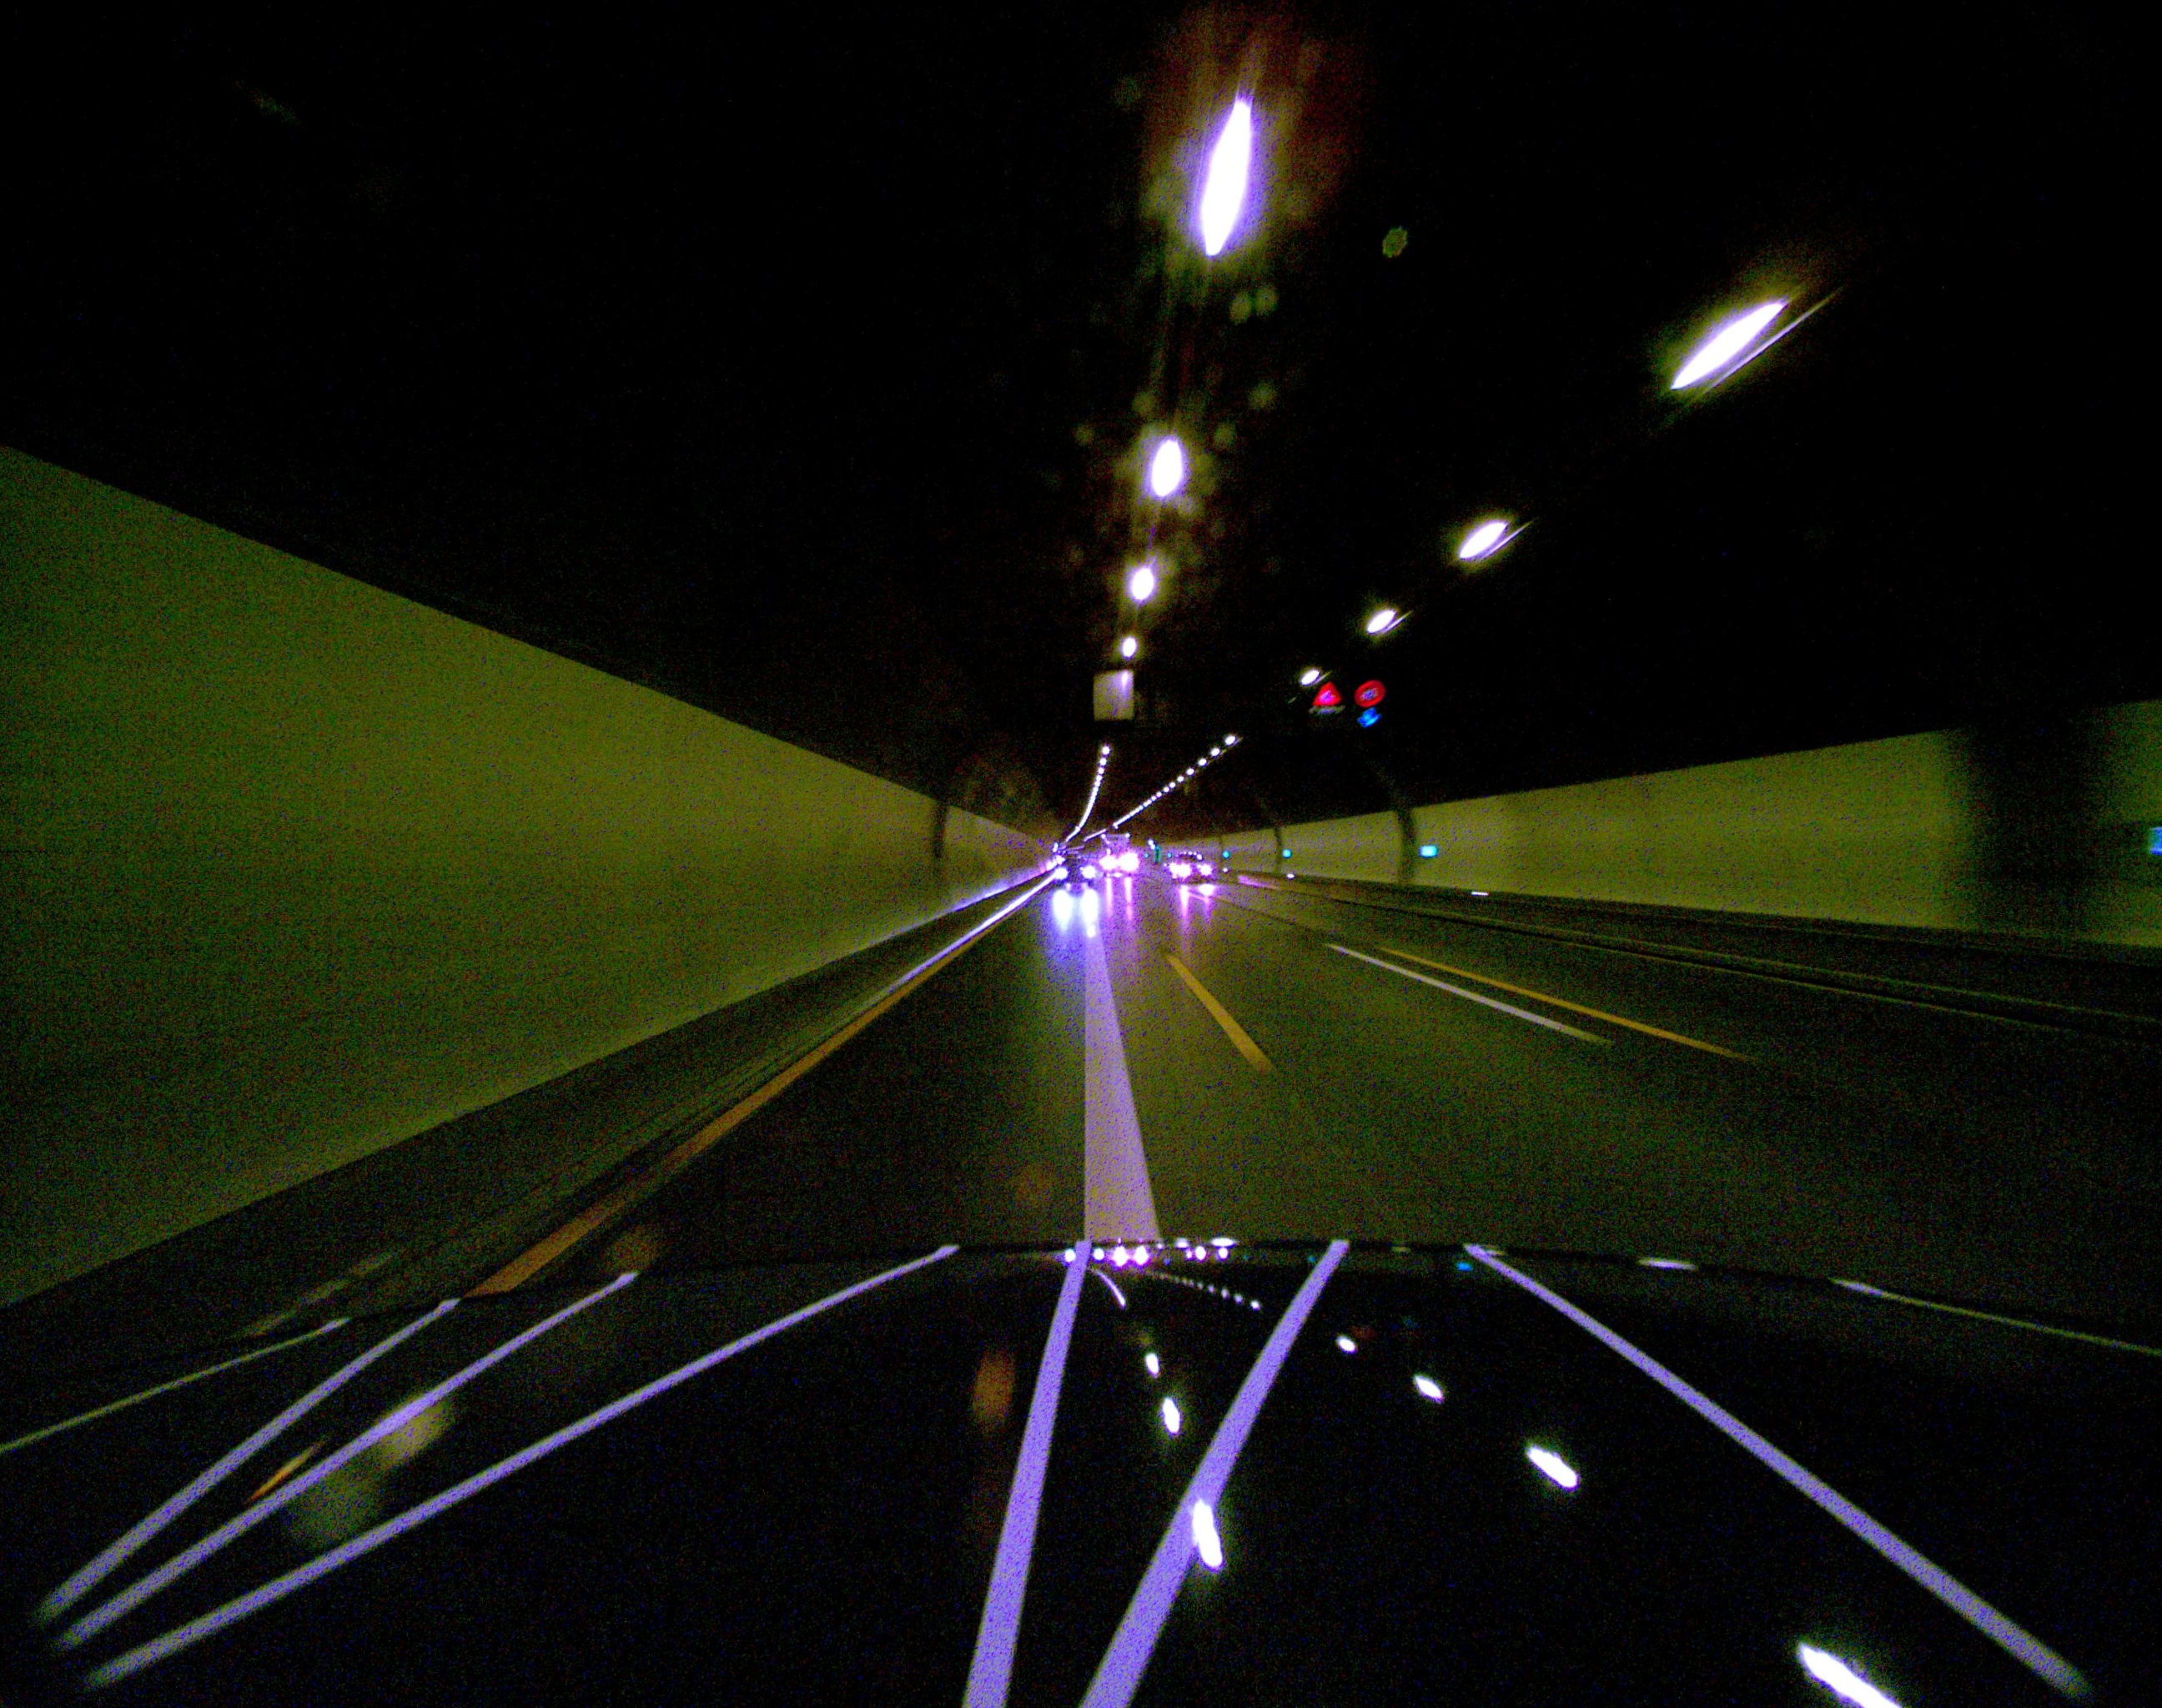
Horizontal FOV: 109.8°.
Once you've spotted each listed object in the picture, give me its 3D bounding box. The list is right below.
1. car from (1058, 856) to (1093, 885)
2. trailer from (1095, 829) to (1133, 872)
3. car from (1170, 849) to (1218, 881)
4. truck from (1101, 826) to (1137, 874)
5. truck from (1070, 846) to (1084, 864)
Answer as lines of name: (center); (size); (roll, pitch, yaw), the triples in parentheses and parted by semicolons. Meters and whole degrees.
car: (-0.243, 0.851, 40.927); (1.728, 1.474, 4.000); (-1, 0, 2)
trailer: (2.638, -0.261, 64.596); (2.374, 3.328, 12.076); (0, 0, -2)
car: (5.943, 0.527, 40.350); (1.766, 1.563, 4.096); (-2, 1, -2)
truck: (2.859, -0.313, 58.172); (2.374, 3.328, 4.719); (-3, 0, 2)
truck: (-0.650, 0.220, 124.032); (2.151, 2.609, 9.908); (-2, -1, -1)
